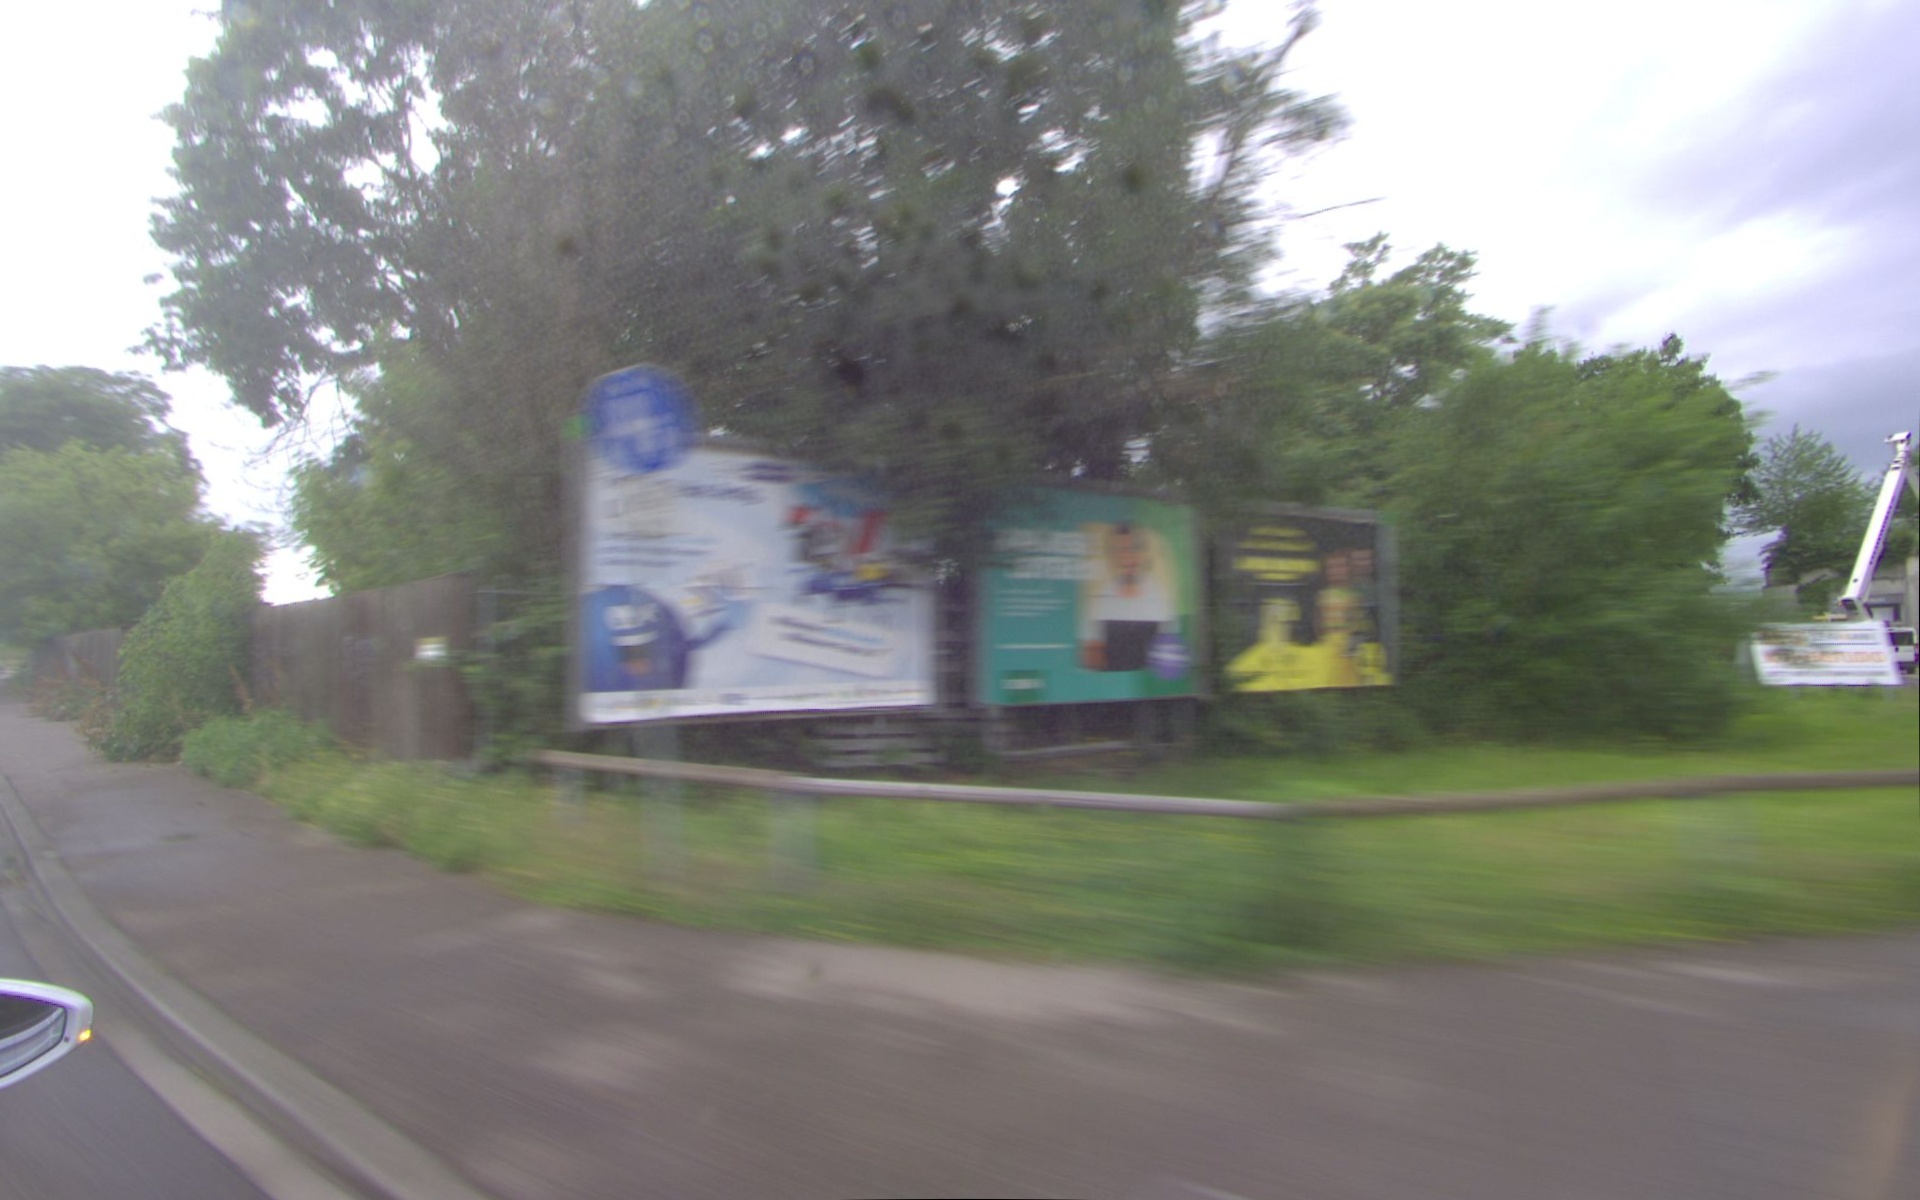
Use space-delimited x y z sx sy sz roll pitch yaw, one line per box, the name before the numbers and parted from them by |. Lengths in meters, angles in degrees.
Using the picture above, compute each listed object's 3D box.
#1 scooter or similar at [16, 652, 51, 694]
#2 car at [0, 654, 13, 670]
scooter or similar | -30.944 2.427 33.434 2.328 1.329 0.687 -2 -2 43
car | -99.795 6.411 103.403 1.860 1.586 4.338 1 -2 -29
